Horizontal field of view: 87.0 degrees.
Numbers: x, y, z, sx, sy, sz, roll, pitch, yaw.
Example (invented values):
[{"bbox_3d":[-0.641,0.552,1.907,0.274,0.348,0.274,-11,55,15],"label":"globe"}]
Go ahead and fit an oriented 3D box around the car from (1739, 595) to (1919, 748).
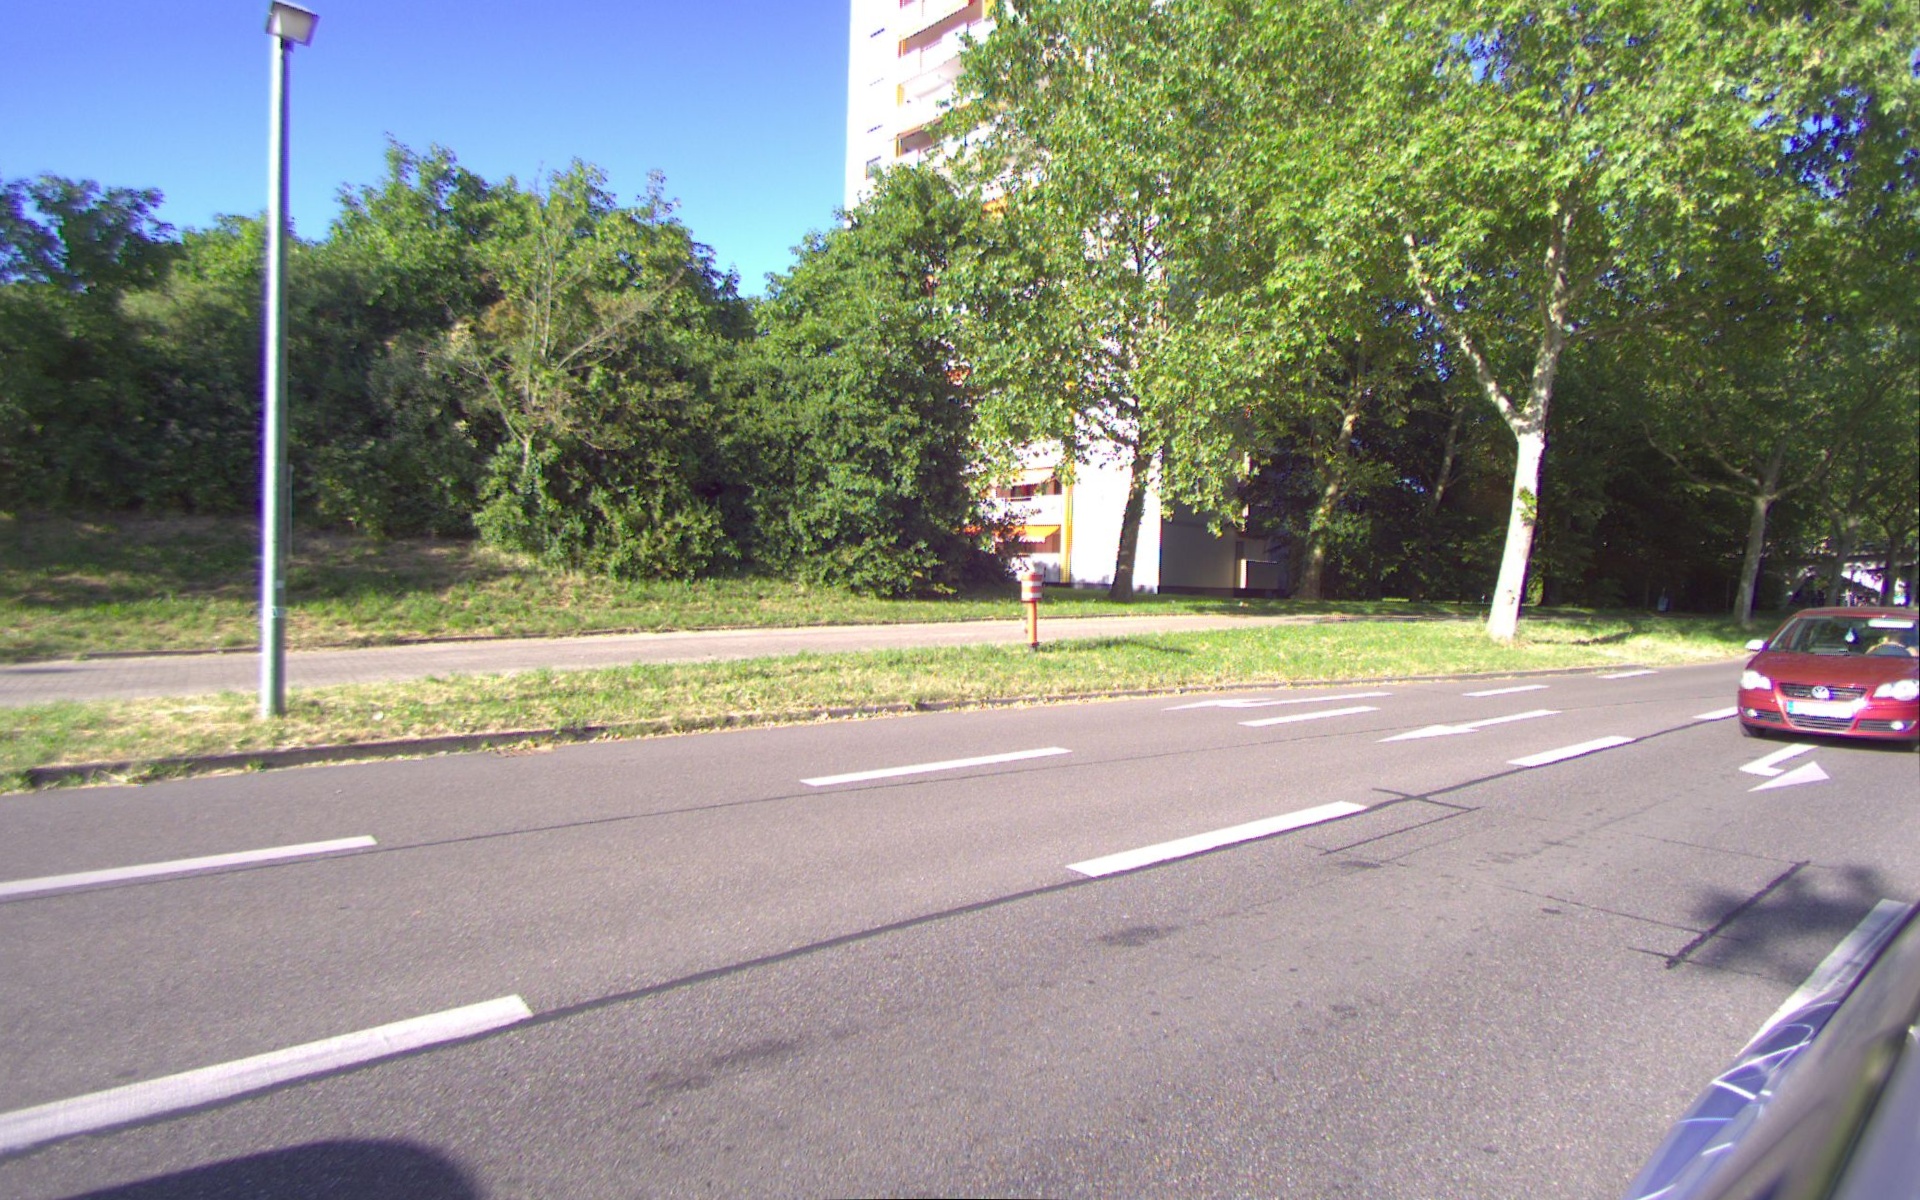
[{"bbox_3d":[10.369,0.691,11.476,3.693,1.456,1.646,-1,1,-39],"label":"car"}]
